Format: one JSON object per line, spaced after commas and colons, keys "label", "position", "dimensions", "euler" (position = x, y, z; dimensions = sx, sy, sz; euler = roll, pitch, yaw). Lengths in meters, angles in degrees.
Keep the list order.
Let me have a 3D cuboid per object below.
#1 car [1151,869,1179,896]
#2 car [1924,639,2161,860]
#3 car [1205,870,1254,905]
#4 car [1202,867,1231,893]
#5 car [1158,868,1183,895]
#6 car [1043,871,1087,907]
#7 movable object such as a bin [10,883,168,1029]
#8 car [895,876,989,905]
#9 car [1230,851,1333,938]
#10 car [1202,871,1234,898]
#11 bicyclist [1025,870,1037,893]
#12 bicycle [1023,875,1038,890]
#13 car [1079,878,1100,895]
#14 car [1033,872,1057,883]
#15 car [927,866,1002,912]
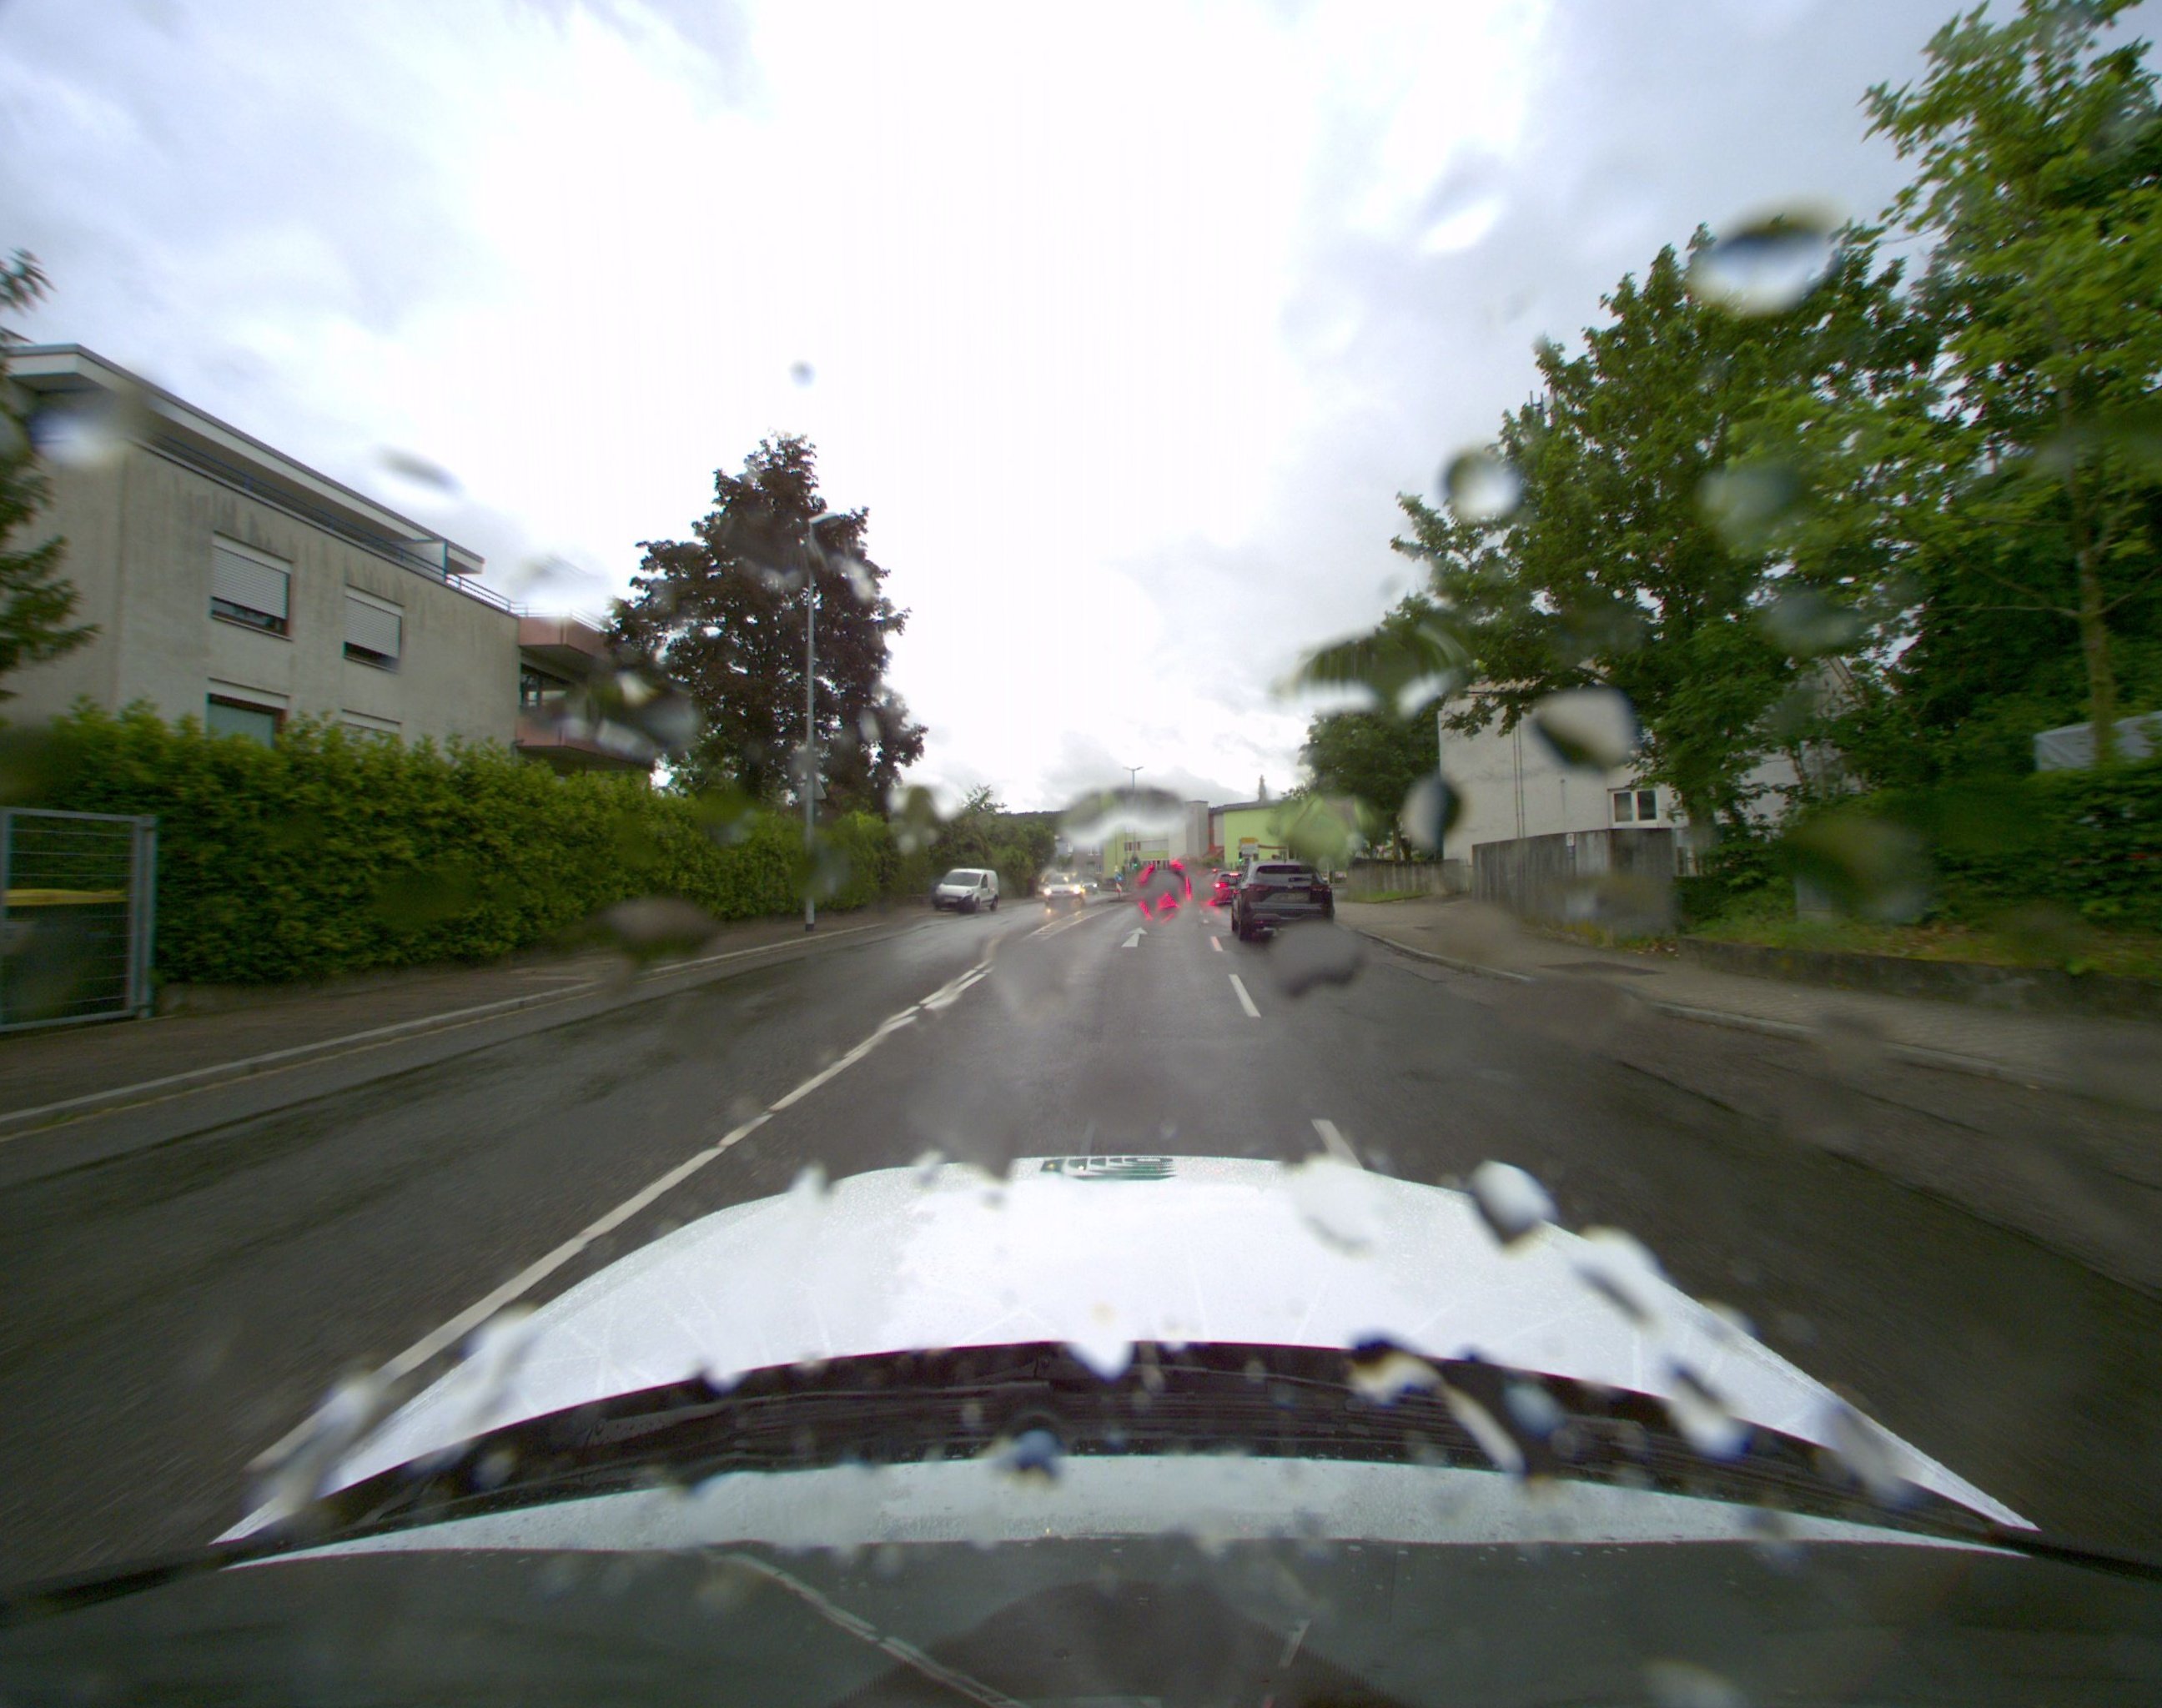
{"label": "car", "position": [5.261, 1.771, 50.681], "dimensions": [1.674, 1.506, 3.780], "euler": [-1, 0, 6]}
{"label": "car", "position": [11.894, -1.062, 8.381], "dimensions": [1.990, 2.226, 4.127], "euler": [0, 2, -5]}
{"label": "car", "position": [6.765, 1.526, 37.496], "dimensions": [1.895, 1.459, 4.786], "euler": [-2, -2, 7]}
{"label": "car", "position": [9.895, 1.865, 59.689], "dimensions": [1.774, 1.734, 4.093], "euler": [1, -1, 6]}
{"label": "car", "position": [6.387, 1.942, 58.691], "dimensions": [1.708, 1.844, 4.092], "euler": [-1, -1, 5]}
{"label": "car", "position": [-0.725, 1.671, 40.015], "dimensions": [1.627, 1.580, 4.062], "euler": [-4, -2, 5]}
{"label": "movable object such as a bin", "position": [-9.667, 0.959, 7.968], "dimensions": [0.545, 1.326, 0.806], "euler": [0, 0, 2]}
{"label": "car", "position": [-7.109, 1.866, 41.971], "dimensions": [4.467, 1.362, 1.805], "euler": [1, 0, 0]}
{"label": "car", "position": [4.158, 0.762, 17.471], "dimensions": [1.779, 1.603, 4.264], "euler": [-1, 0, 9]}
{"label": "car", "position": [7.756, 1.723, 46.338], "dimensions": [1.697, 1.427, 4.519], "euler": [-2, -2, 9]}
{"label": "bicyclist", "position": [-3.520, 1.943, 57.385], "dimensions": [0.761, 1.612, 0.869], "euler": [0, -2, 5]}
{"label": "bicycle", "position": [-3.535, 2.021, 57.366], "dimensions": [0.743, 1.086, 1.992], "euler": [0, -2, 6]}
{"label": "car", "position": [1.017, 3.583, 90.057], "dimensions": [2.032, 1.716, 4.484], "euler": [-3, -1, 3]}
{"label": "car", "position": [-6.906, 4.551, 156.393], "dimensions": [4.396, 1.772, 1.993], "euler": [-3, -2, -10]}
{"label": "car", "position": [-4.622, 1.378, 32.911], "dimensions": [1.689, 1.708, 3.991], "euler": [2, -1, 11]}
